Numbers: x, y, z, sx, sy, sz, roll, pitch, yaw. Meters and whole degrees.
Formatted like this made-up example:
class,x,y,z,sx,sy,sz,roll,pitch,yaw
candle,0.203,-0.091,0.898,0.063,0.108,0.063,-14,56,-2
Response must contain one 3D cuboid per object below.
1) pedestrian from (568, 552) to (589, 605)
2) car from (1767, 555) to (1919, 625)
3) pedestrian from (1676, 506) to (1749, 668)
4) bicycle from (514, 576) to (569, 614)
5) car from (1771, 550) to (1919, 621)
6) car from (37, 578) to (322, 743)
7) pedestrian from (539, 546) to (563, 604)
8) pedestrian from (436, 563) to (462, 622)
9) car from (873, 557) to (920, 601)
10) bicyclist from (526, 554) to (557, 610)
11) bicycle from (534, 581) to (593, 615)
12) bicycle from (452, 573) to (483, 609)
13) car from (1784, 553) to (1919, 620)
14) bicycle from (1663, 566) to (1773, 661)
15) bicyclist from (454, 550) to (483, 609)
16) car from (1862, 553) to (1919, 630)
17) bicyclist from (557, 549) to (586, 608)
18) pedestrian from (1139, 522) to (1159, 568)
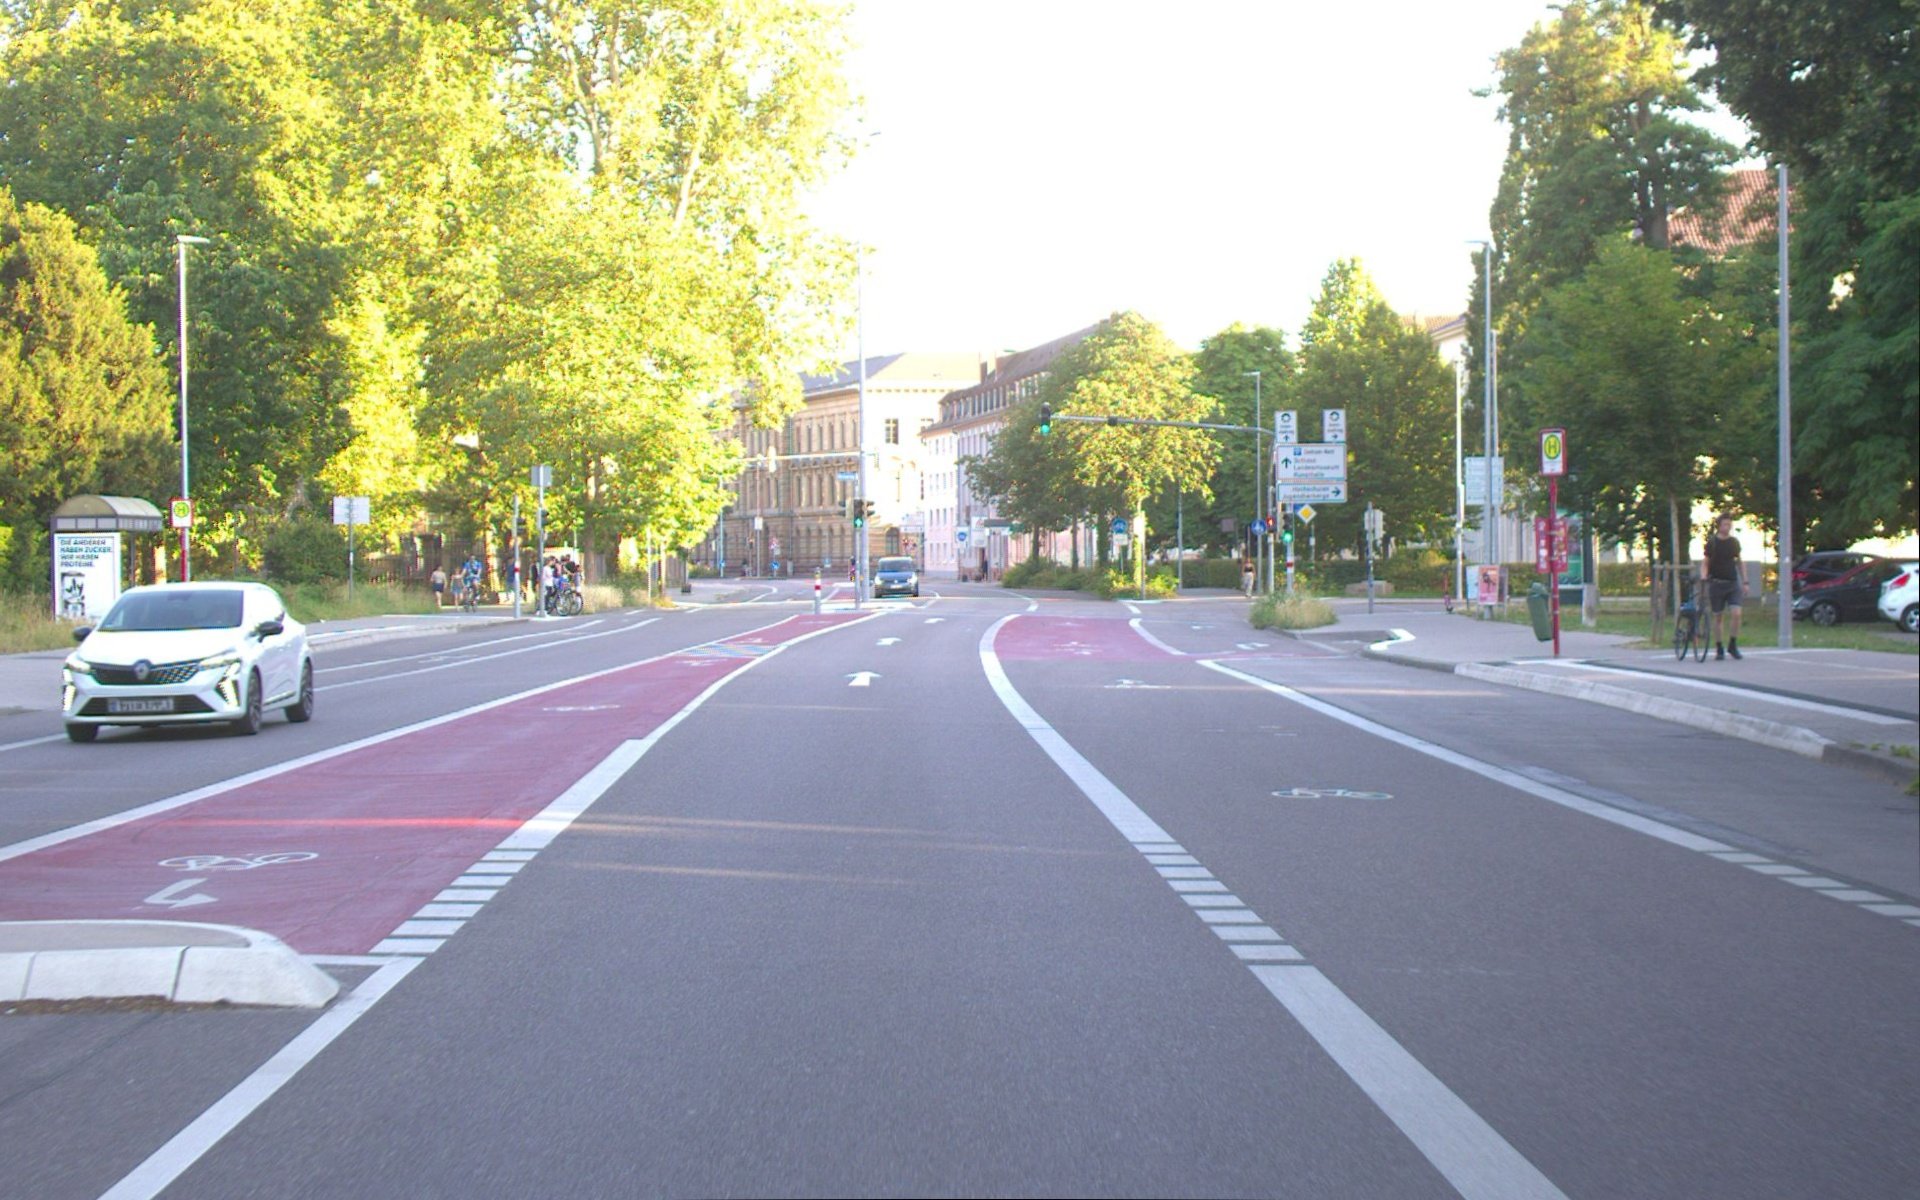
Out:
class,x,y,z,sx,sy,sz,roll,pitch,yaw
pedestrian,-14.593,-0.825,131.544,0.640,2.007,0.701,0,0,4
car,20.939,-0.239,78.574,4.570,1.444,1.900,-2,-1,5
pedestrian,9.466,-0.169,43.255,0.723,2.007,0.695,1,0,-1
bicycle,-12.376,-0.149,101.588,1.566,1.107,0.632,0,1,33
car,22.092,-0.367,84.711,3.898,1.688,1.836,1,0,7
car,-7.338,0.523,32.724,1.846,1.409,4.181,-1,1,-2
pedestrian,-11.800,-0.721,99.130,0.607,1.690,0.498,0,0,4
pedestrian,-17.542,-0.269,118.069,0.649,2.007,0.606,1,0,-36
car,-2.585,-0.857,140.671,1.849,1.714,4.296,-2,0,-1
bicyclist,-12.367,-0.530,101.570,0.638,1.644,0.629,0,1,33
bicycle,-11.886,-0.062,103.040,1.769,1.026,0.578,0,1,33
bicycle,-15.276,-0.282,106.634,0.770,1.097,2.123,0,1,-4
car,21.721,-0.332,81.764,3.988,1.556,1.785,0,1,9
bicycle,9.581,0.158,43.504,0.830,1.093,1.969,-6,1,-1
bicyclist,-15.246,-0.627,106.668,0.735,1.817,0.712,-1,1,4
car,20.319,-0.155,69.072,3.988,1.532,1.911,1,0,6
bicyclist,-11.622,-0.645,102.851,0.638,1.774,0.575,0,0,33
pedestrian,8.404,-2.437,152.768,0.870,2.007,0.722,1,0,2
